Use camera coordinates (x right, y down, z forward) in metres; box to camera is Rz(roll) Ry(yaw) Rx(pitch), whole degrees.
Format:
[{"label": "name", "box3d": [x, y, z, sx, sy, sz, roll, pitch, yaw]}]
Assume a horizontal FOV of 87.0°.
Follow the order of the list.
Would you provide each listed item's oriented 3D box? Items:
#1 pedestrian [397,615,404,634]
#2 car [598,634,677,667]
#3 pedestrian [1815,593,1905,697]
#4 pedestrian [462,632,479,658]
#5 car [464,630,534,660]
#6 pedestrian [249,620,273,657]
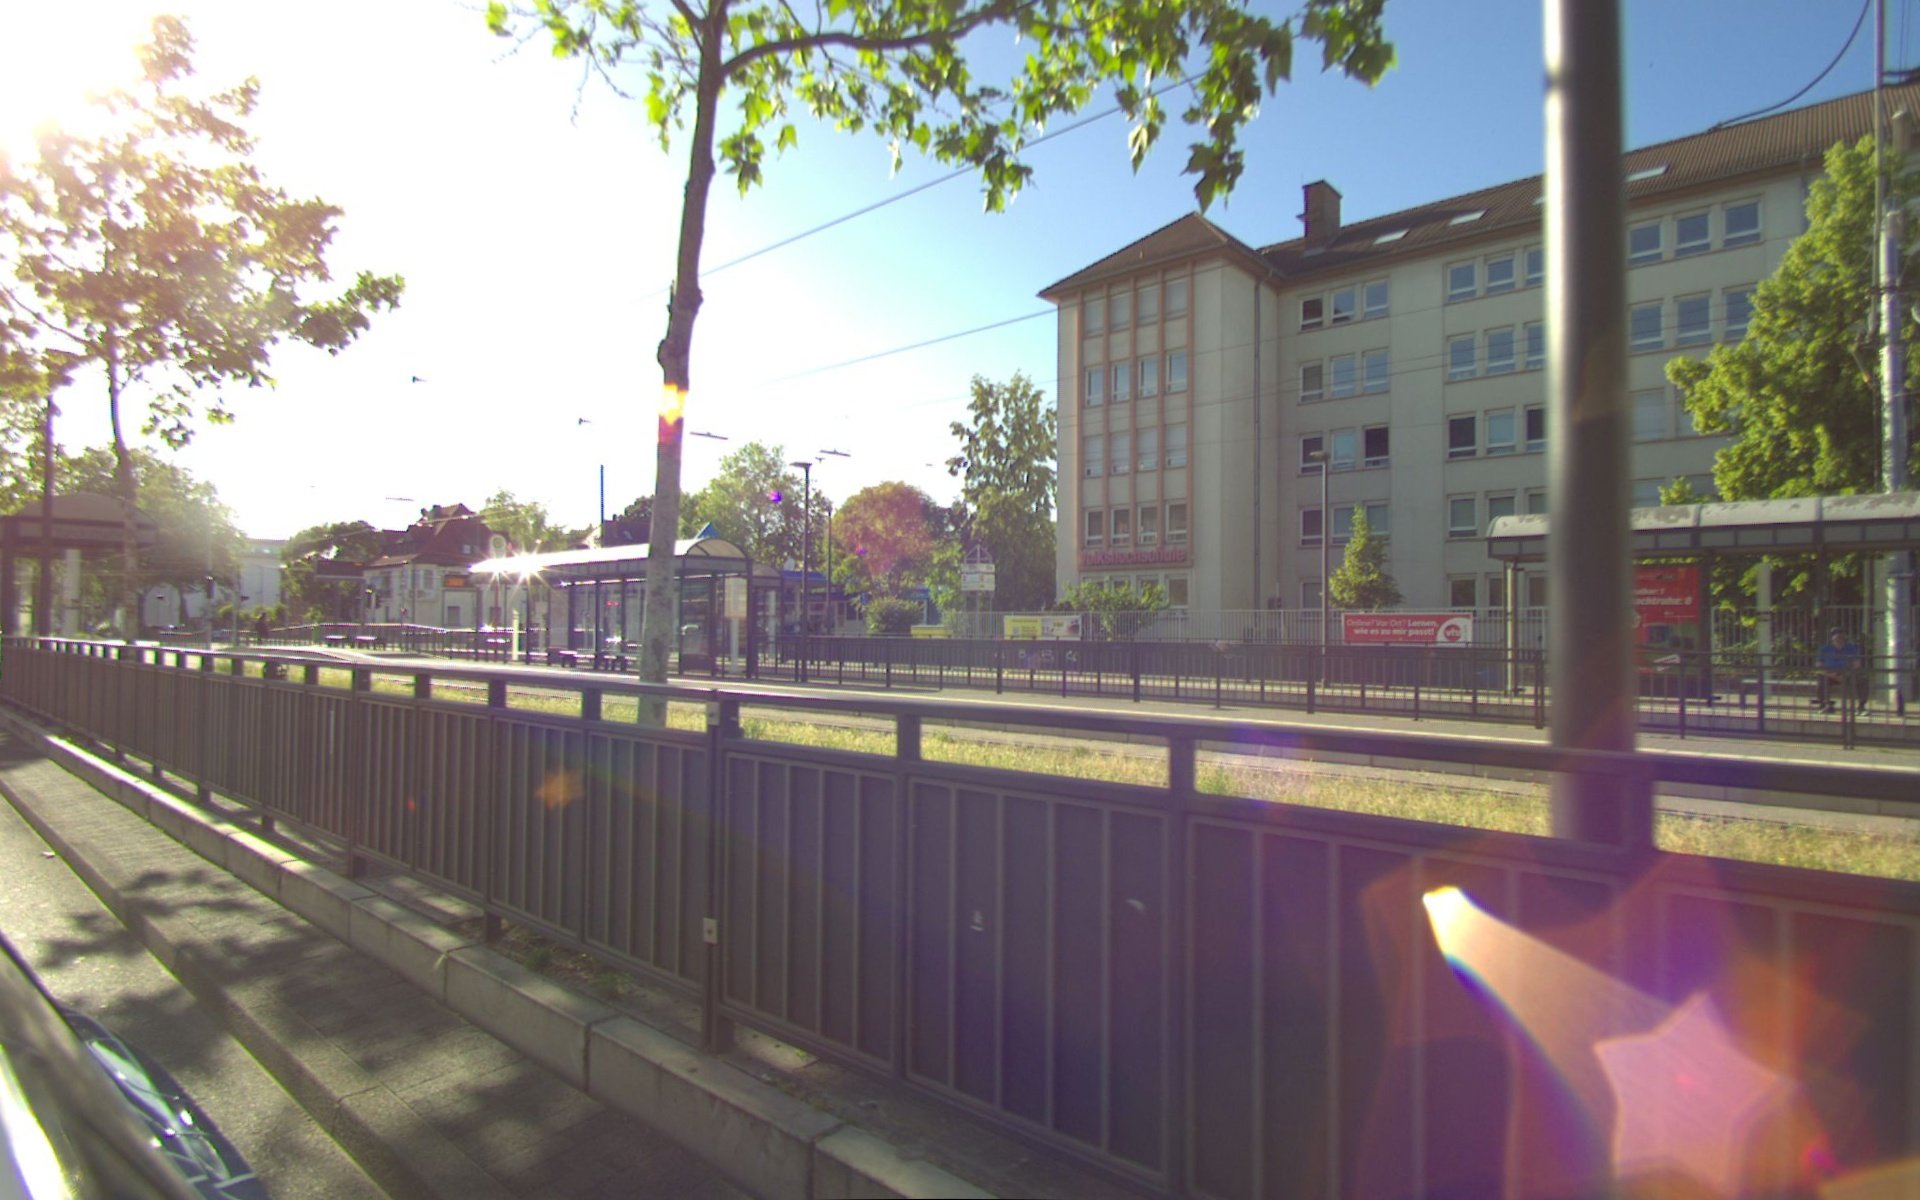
[{"label": "pedestrian", "box3d": [-50.899, 2.247, 92.126, 0.409, 1.756, 0.411, -2, -2, 41]}, {"label": "car", "box3d": [-15.021, 2.310, 47.026, 4.000, 1.431, 1.778, -1, -2, 43]}, {"label": "pedestrian", "box3d": [12.579, 0.617, 14.174, 0.879, 1.386, 0.965, -2, -2, 41]}, {"label": "pedestrian", "box3d": [-31.551, 2.897, 65.201, 0.824, 1.703, 0.646, -1, -2, 33]}, {"label": "car", "box3d": [-22.654, 2.168, 49.675, 4.000, 1.431, 1.778, -1, -2, 43]}, {"label": "pedestrian", "box3d": [-30.358, 1.669, 43.971, 0.735, 1.604, 0.677, -2, -2, 42]}]
